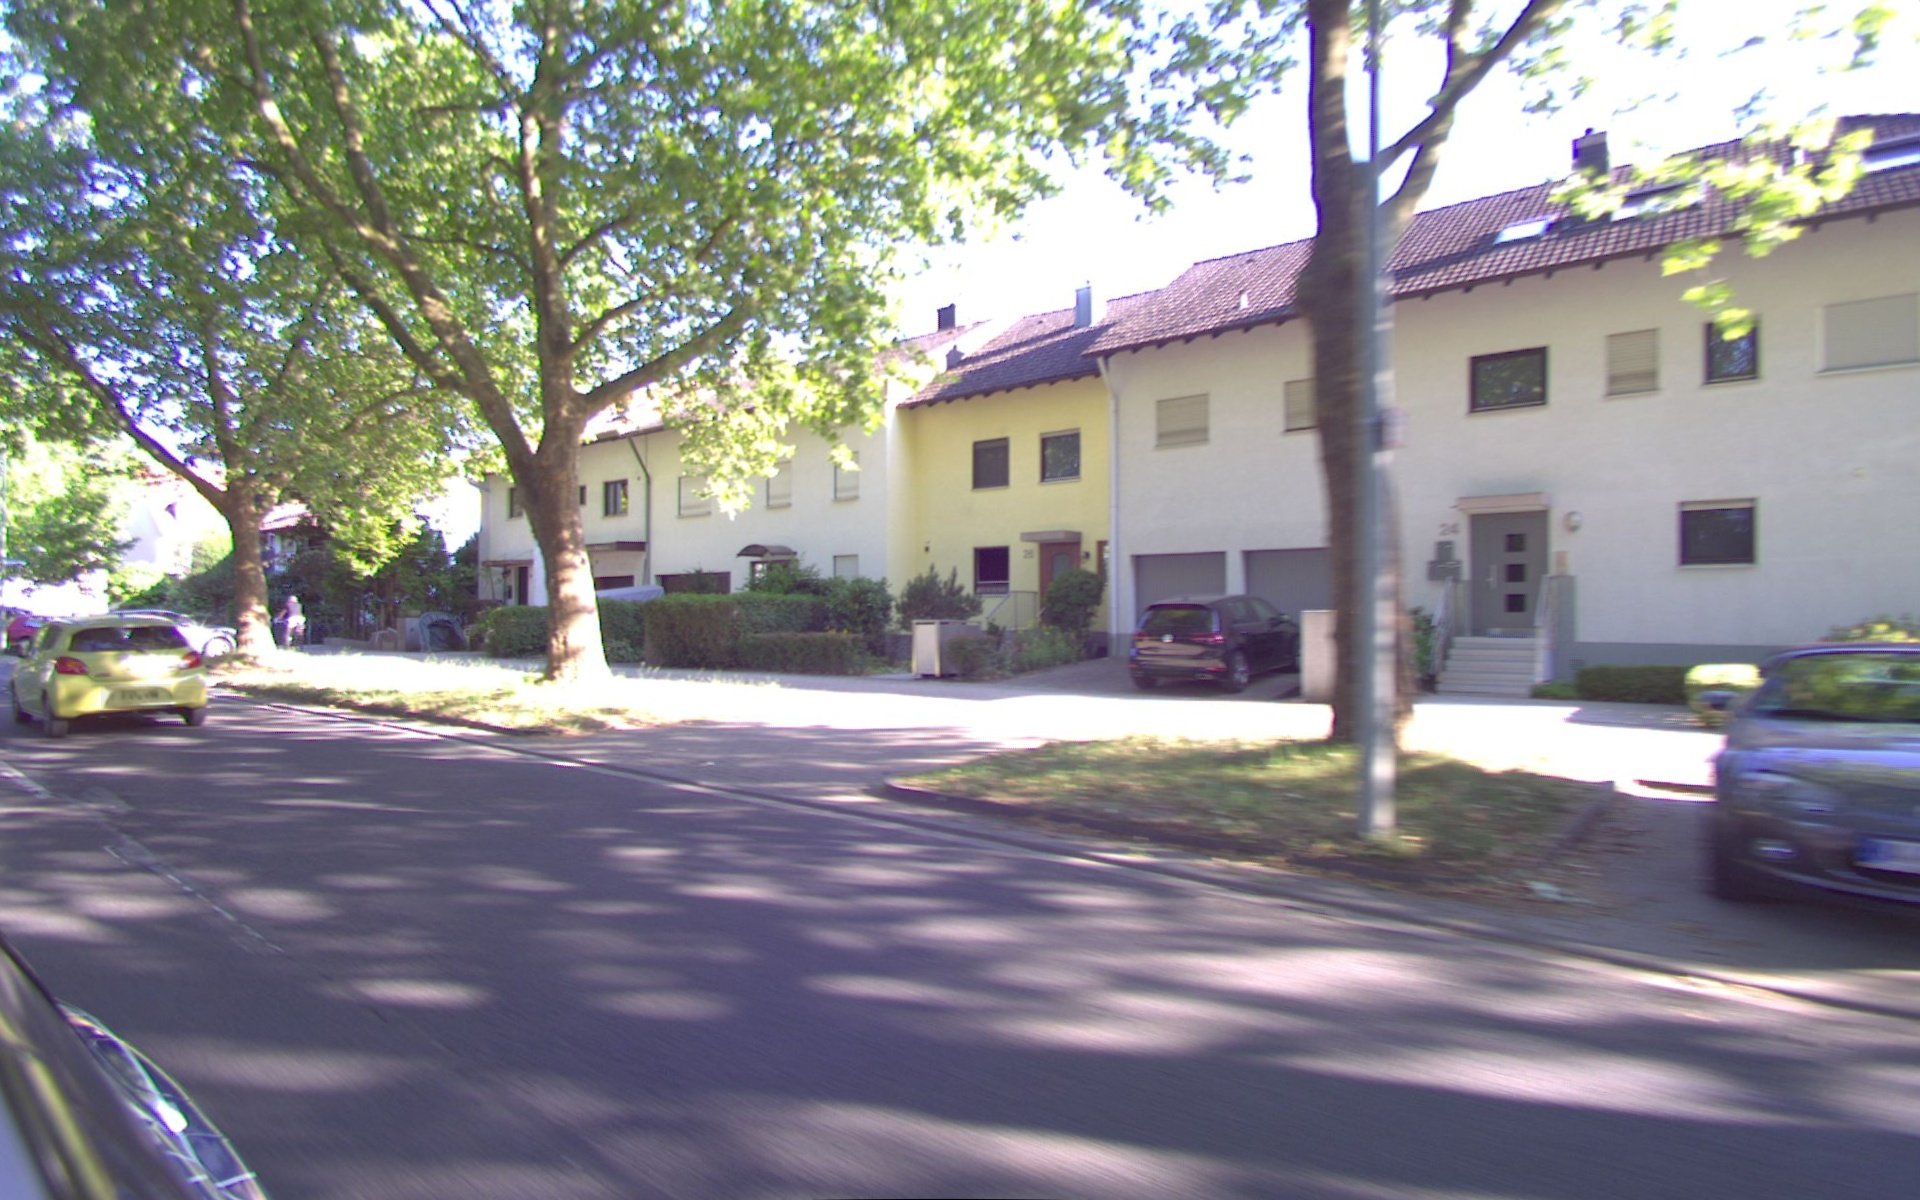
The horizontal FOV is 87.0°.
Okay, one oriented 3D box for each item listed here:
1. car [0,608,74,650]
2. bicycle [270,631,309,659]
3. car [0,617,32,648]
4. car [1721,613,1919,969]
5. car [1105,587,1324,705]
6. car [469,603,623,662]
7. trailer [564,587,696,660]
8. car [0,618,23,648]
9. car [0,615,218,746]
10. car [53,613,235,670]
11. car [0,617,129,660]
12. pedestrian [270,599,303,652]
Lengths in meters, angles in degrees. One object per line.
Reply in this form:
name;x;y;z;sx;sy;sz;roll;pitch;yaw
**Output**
car;-42.846;1.283;45.369;1.991;1.838;4.348;-1;-1;35
bicycle;-21.973;1.466;33.156;2.154;0.887;0.465;-1;-1;40
car;-48.627;1.643;50.183;1.778;1.528;3.609;-1;-1;36
car;5.257;0.784;5.359;1.788;1.326;3.787;-1;0;40
car;4.276;0.657;16.604;1.900;1.475;3.947;-1;3;40
car;-12.956;0.968;31.820;1.998;1.487;3.948;-1;3;39
trailer;-10.125;0.689;31.224;1.641;1.940;3.421;-3;2;38
car;-50.444;1.723;51.698;1.721;1.528;3.485;-1;0;32
car;-11.700;0.981;13.823;3.837;1.524;1.765;-1;-1;42
car;-24.220;1.194;30.148;1.815;1.530;3.950;-1;-1;38
car;-34.805;1.450;39.125;1.661;1.530;3.838;0;0;35
pedestrian;-22.057;0.833;33.156;1.064;1.729;0.610;-1;-1;40
